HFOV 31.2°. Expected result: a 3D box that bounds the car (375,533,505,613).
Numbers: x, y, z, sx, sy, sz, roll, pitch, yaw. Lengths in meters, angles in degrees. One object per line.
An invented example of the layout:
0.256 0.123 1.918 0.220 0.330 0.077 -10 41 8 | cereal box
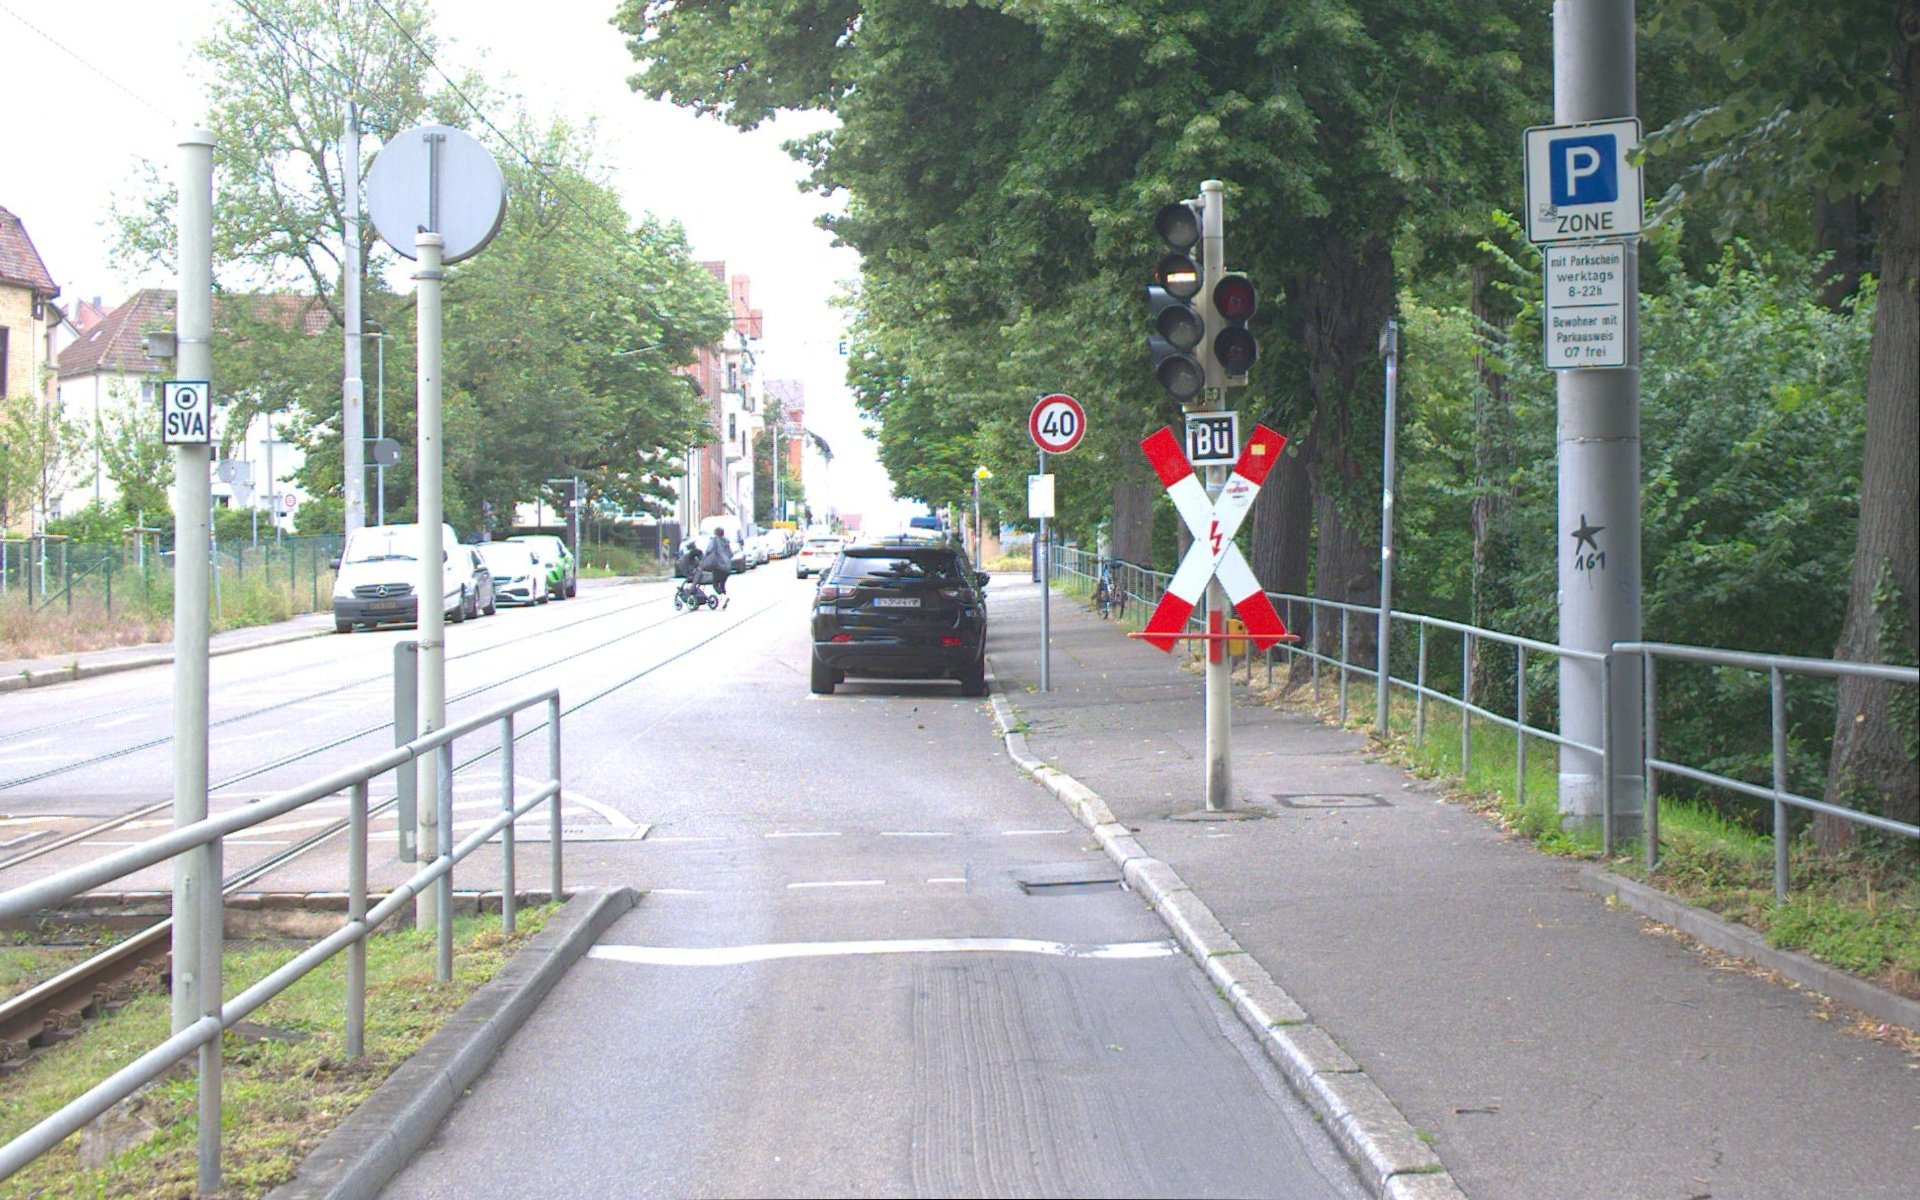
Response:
-10.287 -0.569 68.343 1.896 1.428 4.512 -2 2 0 | car

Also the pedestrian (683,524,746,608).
-4.780 -0.666 66.942 0.915 1.623 0.805 1 1 42 | pedestrian

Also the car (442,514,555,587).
-10.250 -1.129 76.673 1.885 1.520 4.664 -2 1 0 | car

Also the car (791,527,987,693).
-0.691 0.051 36.629 1.904 1.609 4.600 1 1 1 | car

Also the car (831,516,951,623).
-1.130 -0.557 58.476 1.877 1.672 5.063 2 2 0 | car

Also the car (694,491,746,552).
-10.957 -3.578 157.402 2.230 2.755 5.800 0 1 -2 | car

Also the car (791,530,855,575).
-4.561 -1.582 114.885 1.993 1.493 4.312 0 1 -1 | car

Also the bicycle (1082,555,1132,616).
2.377 -0.236 55.714 0.427 0.972 1.795 0 1 -10 | bicycle

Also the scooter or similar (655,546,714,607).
-5.404 -0.461 67.504 0.838 1.192 0.805 1 1 41 | scooter or similar

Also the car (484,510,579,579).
-10.226 -1.352 82.273 1.723 1.574 4.181 -2 1 0 | car

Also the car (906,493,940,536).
-2.246 -5.223 210.581 1.993 2.565 4.705 -1 1 0 | car

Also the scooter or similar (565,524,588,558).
-15.367 -2.363 137.827 0.691 1.334 1.639 0 1 1 | scooter or similar

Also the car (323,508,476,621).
-10.153 -0.660 62.617 2.035 1.875 4.886 -3 1 -2 | car

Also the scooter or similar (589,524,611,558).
-14.412 -2.360 137.834 0.691 1.334 1.639 0 1 1 | scooter or similar
